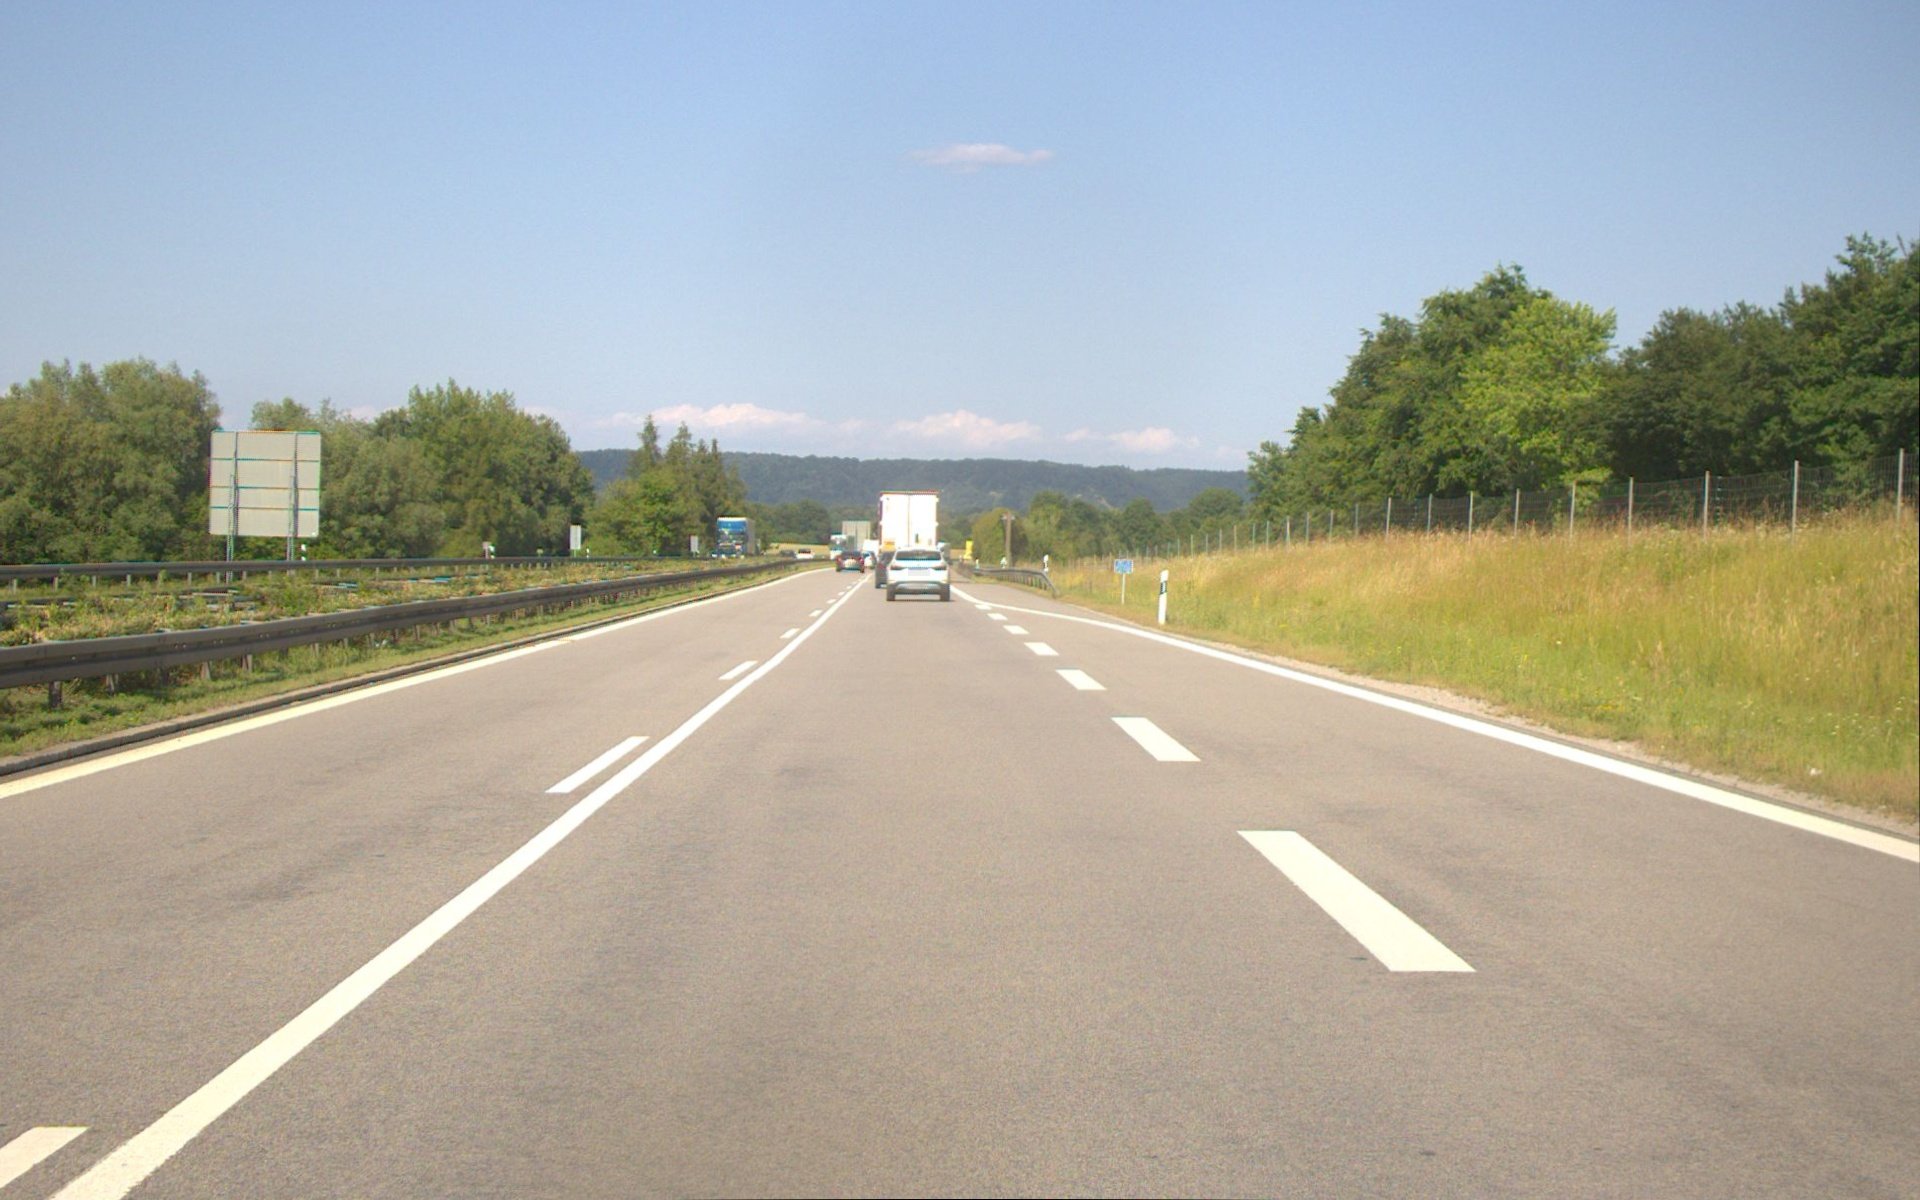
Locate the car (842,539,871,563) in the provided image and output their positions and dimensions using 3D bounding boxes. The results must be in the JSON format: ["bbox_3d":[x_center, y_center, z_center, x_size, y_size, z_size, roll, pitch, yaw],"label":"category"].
[{"bbox_3d":[-6.800,-3.222,226.209,1.771,1.416,4.495,3,1,-1],"label":"car"}]

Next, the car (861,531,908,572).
[{"bbox_3d":[-2.819,-1.814,128.957,1.665,1.449,4.544,3,1,-1],"label":"car"}]

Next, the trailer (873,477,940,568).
[{"bbox_3d":[-2.379,-3.509,157.980,2.818,3.953,14.161,1,1,0],"label":"trailer"}]

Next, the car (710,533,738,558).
[{"bbox_3d":[-17.768,-4.107,259.296,1.849,1.797,4.871,-1,2,-1],"label":"car"}]

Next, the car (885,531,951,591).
[{"bbox_3d":[-1.199,-1.117,96.814,1.684,1.490,4.988,5,2,-1],"label":"car"}]
